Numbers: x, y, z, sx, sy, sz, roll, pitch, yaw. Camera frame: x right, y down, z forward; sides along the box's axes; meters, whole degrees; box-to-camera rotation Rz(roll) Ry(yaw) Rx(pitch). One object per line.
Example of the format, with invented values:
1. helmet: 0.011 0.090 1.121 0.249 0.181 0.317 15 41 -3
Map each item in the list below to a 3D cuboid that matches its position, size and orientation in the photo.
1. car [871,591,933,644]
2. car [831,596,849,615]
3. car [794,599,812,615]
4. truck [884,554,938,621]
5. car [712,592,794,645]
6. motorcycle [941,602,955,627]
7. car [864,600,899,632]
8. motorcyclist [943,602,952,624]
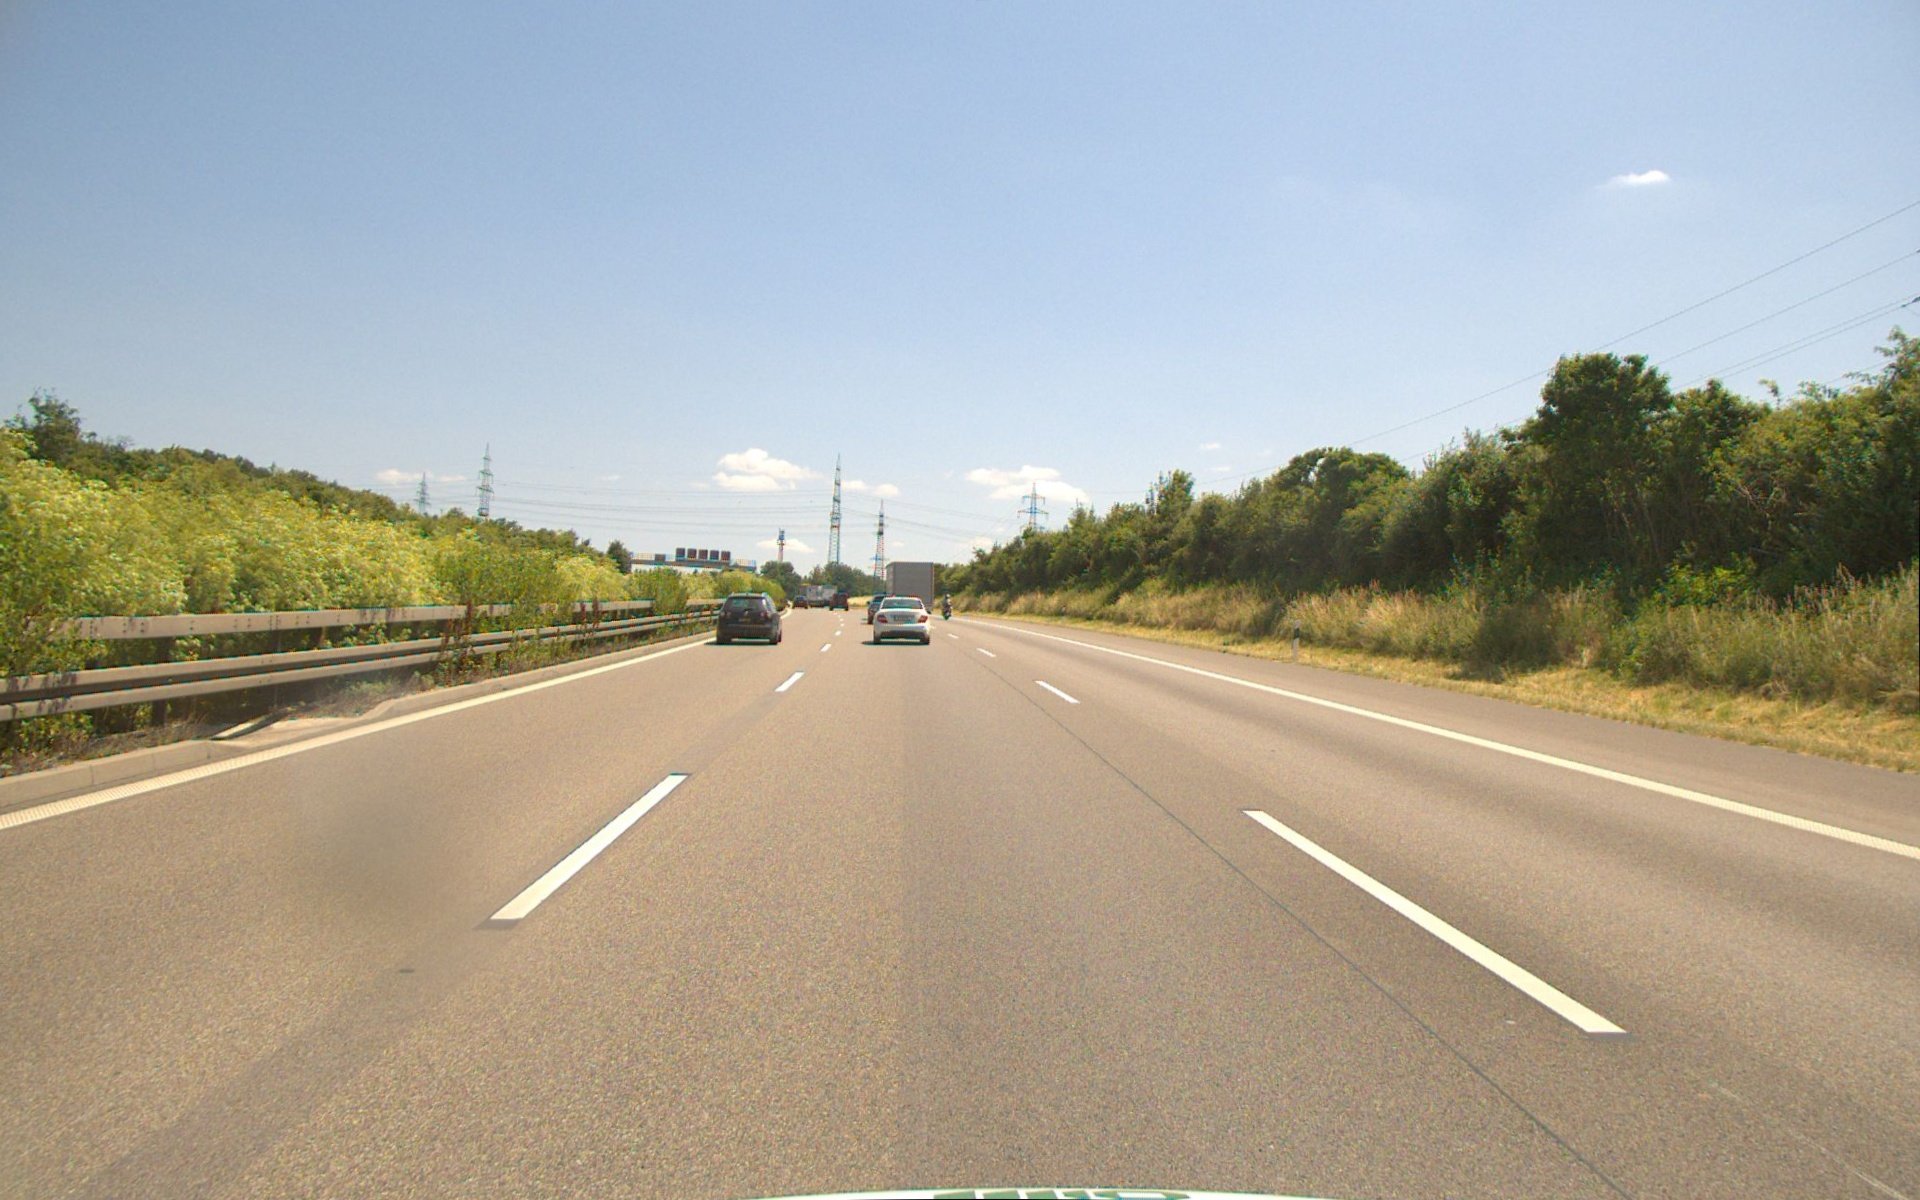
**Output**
1. car: -1.841 0.511 51.493 1.784 1.567 3.911 1 0 -4
2. car: -12.542 0.577 172.486 1.864 1.959 3.996 1 0 -5
3. car: -18.269 0.802 192.232 1.954 1.892 3.997 1 0 -4
4. truck: -3.139 -0.712 104.470 3.156 3.993 9.056 1 0 -2
5. car: -6.036 0.508 48.628 1.719 1.454 4.002 1 0 3
6. motorcycle: -0.828 0.985 112.794 0.794 1.635 1.781 1 0 -4
7. car: -4.082 0.805 86.423 1.802 1.567 3.913 1 0 -2
8. motorcyclist: -0.862 0.868 112.707 0.560 1.505 0.700 1 0 -3
